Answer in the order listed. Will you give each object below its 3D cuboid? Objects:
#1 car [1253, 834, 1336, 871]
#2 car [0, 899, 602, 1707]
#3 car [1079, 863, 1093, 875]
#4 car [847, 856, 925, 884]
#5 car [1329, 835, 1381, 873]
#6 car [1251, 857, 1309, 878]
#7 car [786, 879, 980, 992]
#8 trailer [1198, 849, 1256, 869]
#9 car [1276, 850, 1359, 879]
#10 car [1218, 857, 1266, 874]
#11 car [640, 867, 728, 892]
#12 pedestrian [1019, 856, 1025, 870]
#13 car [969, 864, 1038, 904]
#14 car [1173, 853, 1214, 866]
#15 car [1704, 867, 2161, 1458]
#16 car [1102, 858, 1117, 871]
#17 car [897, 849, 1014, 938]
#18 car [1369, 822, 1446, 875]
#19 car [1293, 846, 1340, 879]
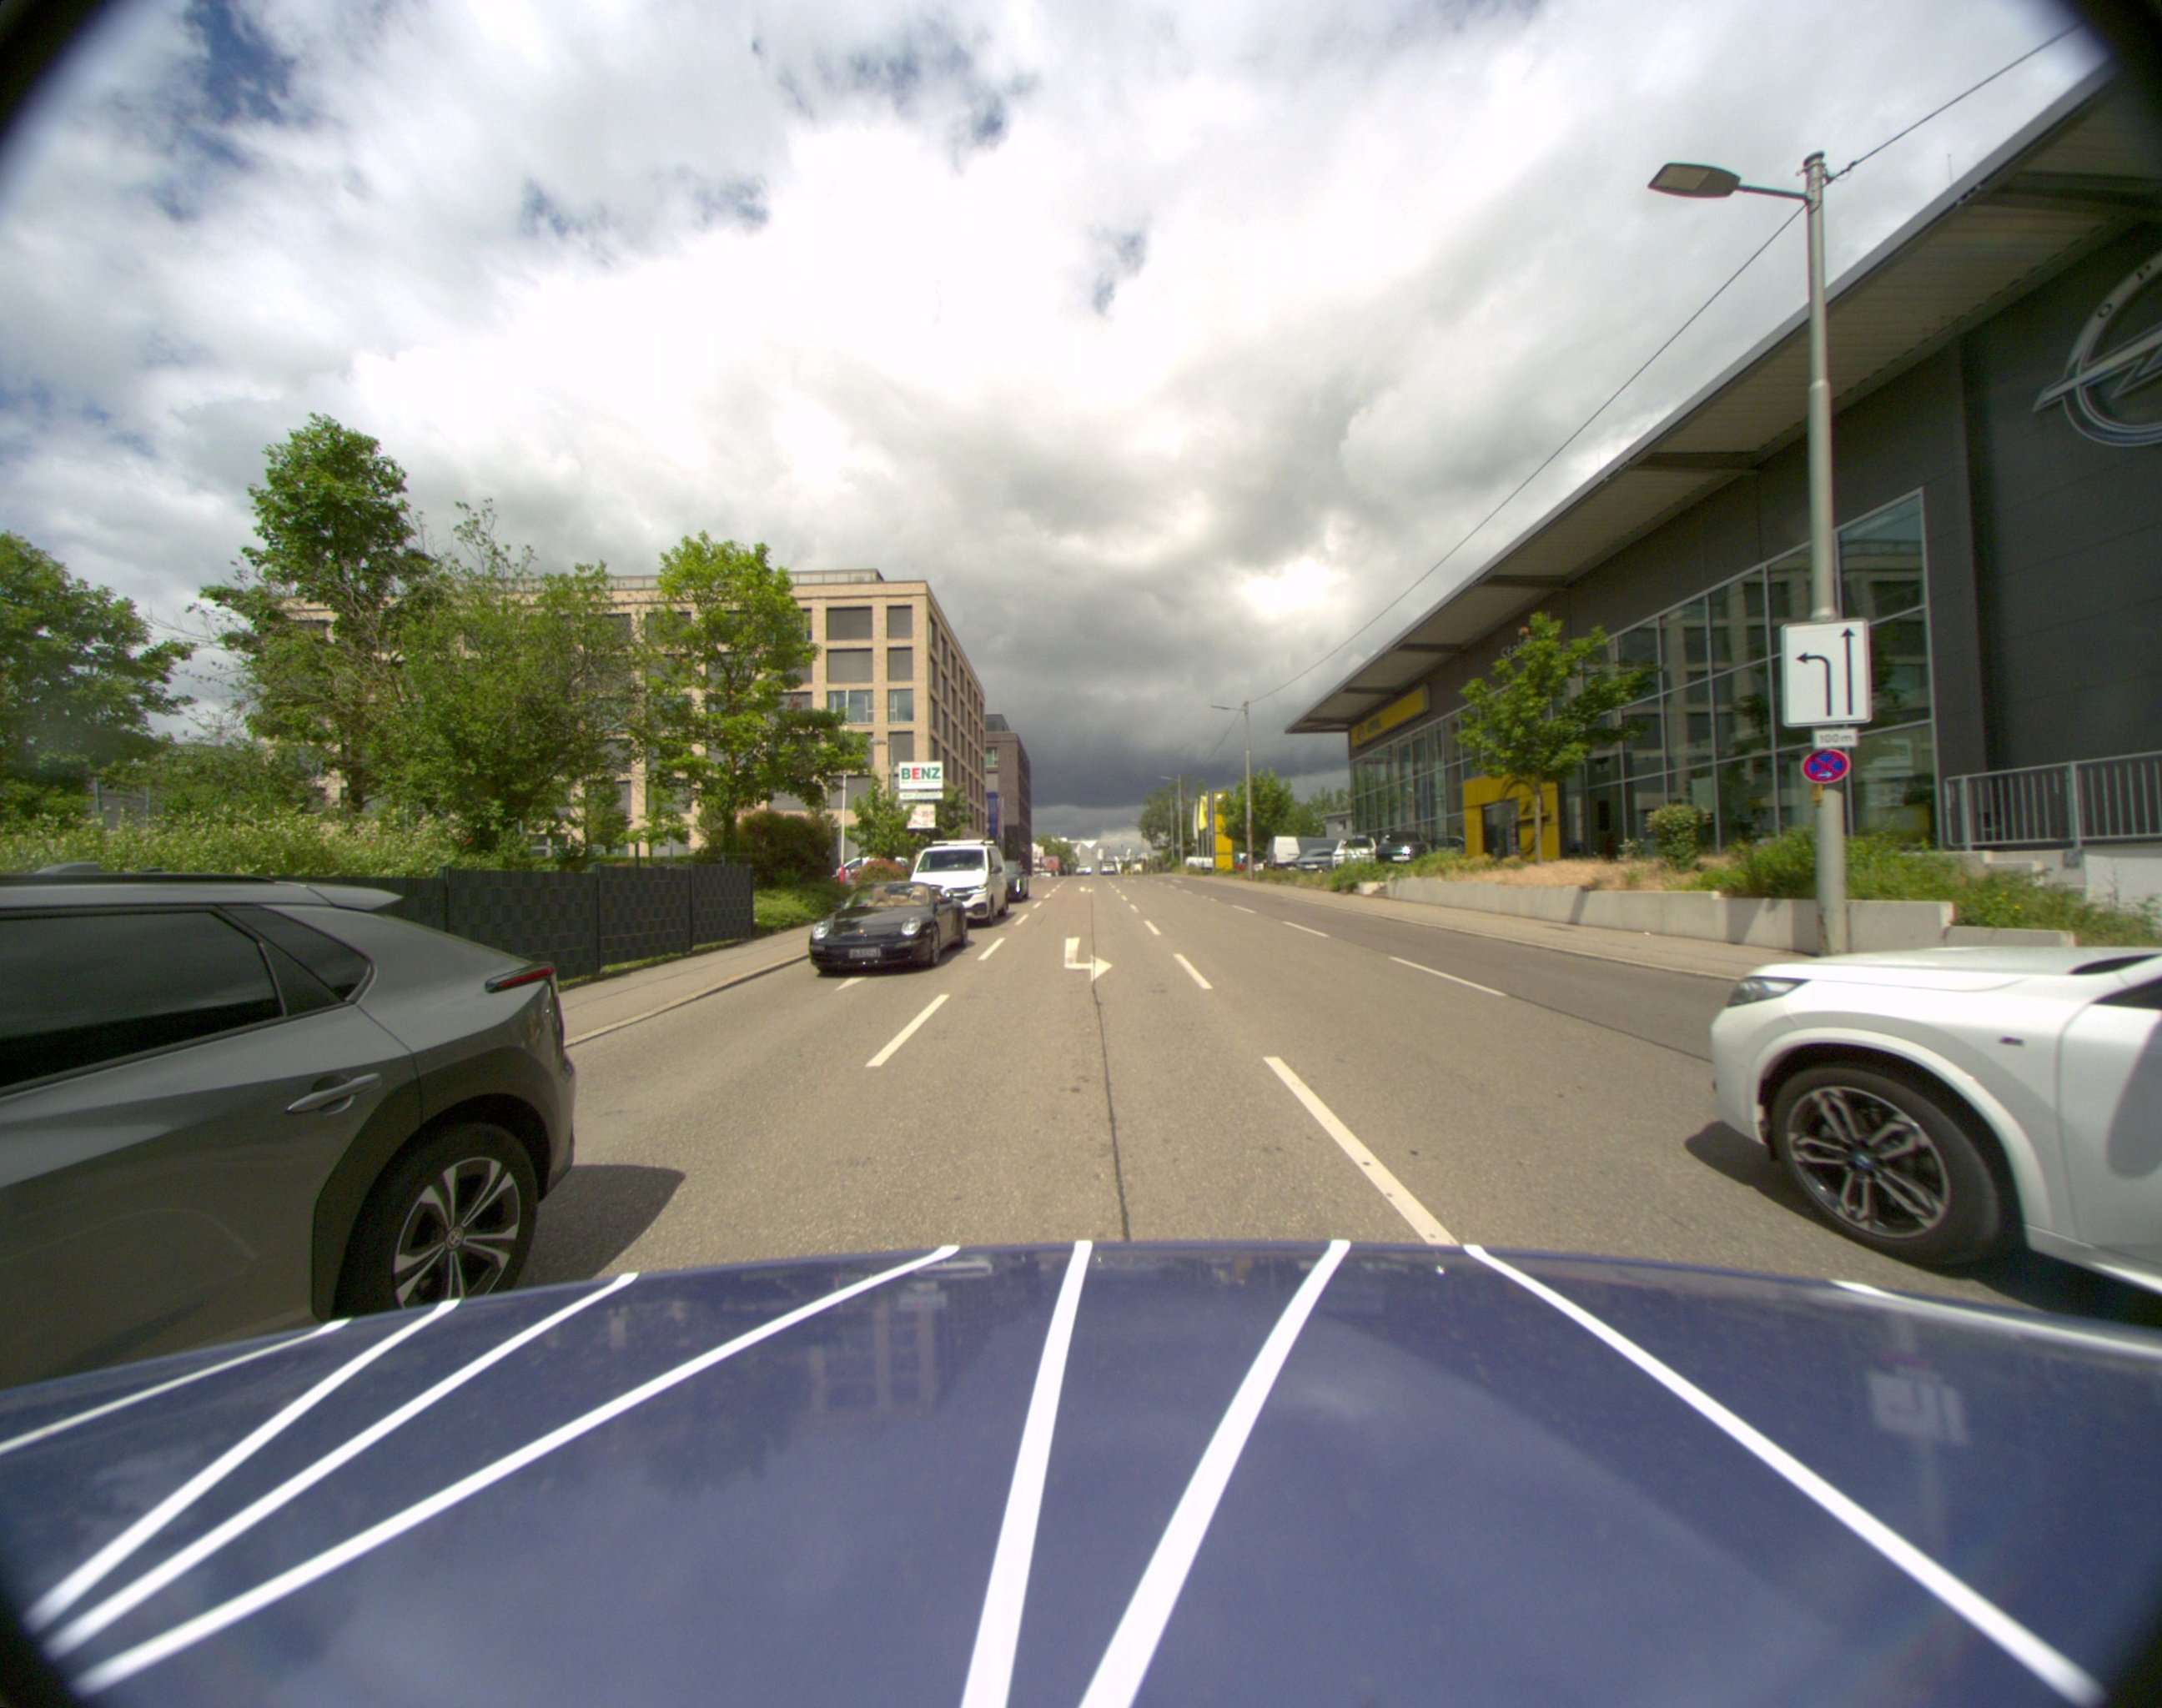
[{"bbox_3d":[13.393,-0.102,47.823,4.532,2.182,2.179,-1,1,-2],"label":"car"},{"bbox_3d":[-2.999,1.022,0.784,1.924,1.604,4.683,-3,0,1],"label":"car"},{"bbox_3d":[0.728,2.033,103.978,1.866,1.398,4.000,-1,0,1],"label":"car"},{"bbox_3d":[-11.632,0.949,45.541,4.220,1.567,1.735,-1,0,-4],"label":"car"},{"bbox_3d":[12.196,-0.014,33.635,1.793,1.604,4.115,-1,1,25],"label":"car"},{"bbox_3d":[14.962,1.025,57.286,3.946,1.518,1.561,-1,0,-2],"label":"car"},{"bbox_3d":[-2.930,1.158,12.349,1.777,1.267,4.569,-3,0,2],"label":"car"},{"bbox_3d":[13.147,0.462,68.682,4.835,1.742,2.095,-1,0,-3],"label":"trailer"},{"bbox_3d":[13.335,0.576,43.013,4.108,1.604,1.797,-1,0,-8],"label":"car"},{"bbox_3d":[13.706,0.985,64.796,3.669,1.401,1.815,-1,0,2],"label":"car"},{"bbox_3d":[-23.377,1.484,44.847,4.219,1.410,1.735,-1,0,-1],"label":"car"},{"bbox_3d":[-6.209,0.943,79.642,0.578,1.497,0.542,-1,1,1],"label":"pedestrian"},{"bbox_3d":[-2.777,1.049,28.198,1.777,1.267,4.569,-1,0,4],"label":"car"},{"bbox_3d":[12.486,0.609,84.405,4.252,1.473,2.095,-1,0,-2],"label":"car"},{"bbox_3d":[3.939,0.837,1.271,1.834,1.543,4.302,0,0,-11],"label":"car"},{"bbox_3d":[3.913,1.463,105.852,1.924,1.604,4.415,-1,1,1],"label":"car"},{"bbox_3d":[-2.926,0.864,18.786,1.964,1.840,4.645,-3,0,1],"label":"car"},{"bbox_3d":[12.422,-0.184,28.732,1.818,1.602,4.117,-11,-5,32],"label":"car"},{"bbox_3d":[12.128,0.408,38.954,1.794,1.604,4.116,-1,0,24],"label":"car"}]
